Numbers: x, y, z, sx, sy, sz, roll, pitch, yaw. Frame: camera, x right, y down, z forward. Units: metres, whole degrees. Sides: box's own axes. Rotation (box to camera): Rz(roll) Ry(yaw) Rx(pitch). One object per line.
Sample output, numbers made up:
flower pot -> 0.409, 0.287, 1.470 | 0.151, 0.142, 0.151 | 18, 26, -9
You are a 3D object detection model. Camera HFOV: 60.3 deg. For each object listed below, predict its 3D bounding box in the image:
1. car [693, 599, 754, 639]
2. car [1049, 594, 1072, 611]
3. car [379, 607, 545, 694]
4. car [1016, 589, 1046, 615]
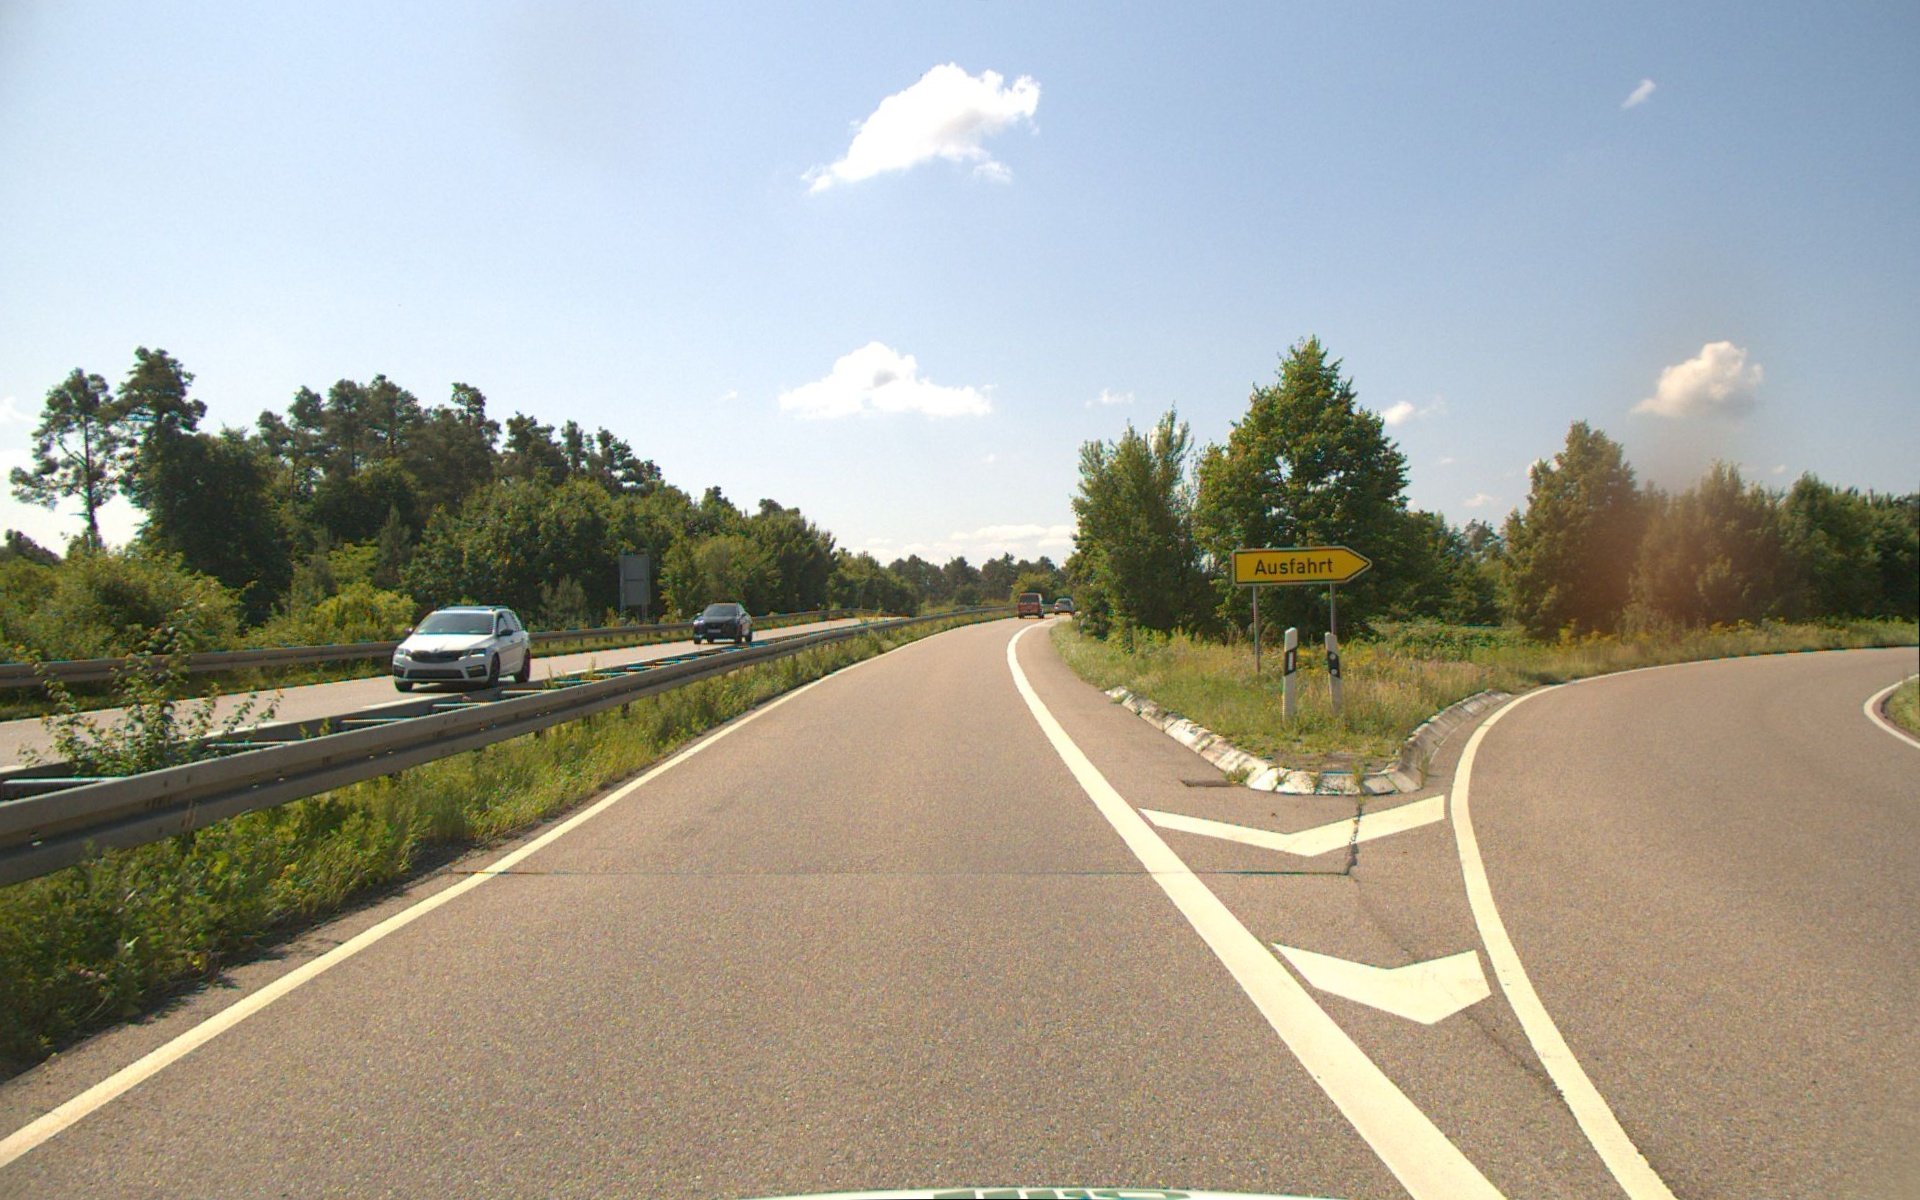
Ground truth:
car -> -9.174, 0.710, 64.441 | 1.719, 1.527, 4.574 | 0, 0, 0
car -> 9.626, 0.266, 157.581 | 1.964, 1.520, 4.241 | 0, -1, 6
car -> -9.205, 0.887, 30.968 | 1.757, 1.469, 4.605 | 0, 0, -1
car -> 5.710, 0.194, 132.475 | 2.033, 2.028, 5.115 | 0, -1, 7
